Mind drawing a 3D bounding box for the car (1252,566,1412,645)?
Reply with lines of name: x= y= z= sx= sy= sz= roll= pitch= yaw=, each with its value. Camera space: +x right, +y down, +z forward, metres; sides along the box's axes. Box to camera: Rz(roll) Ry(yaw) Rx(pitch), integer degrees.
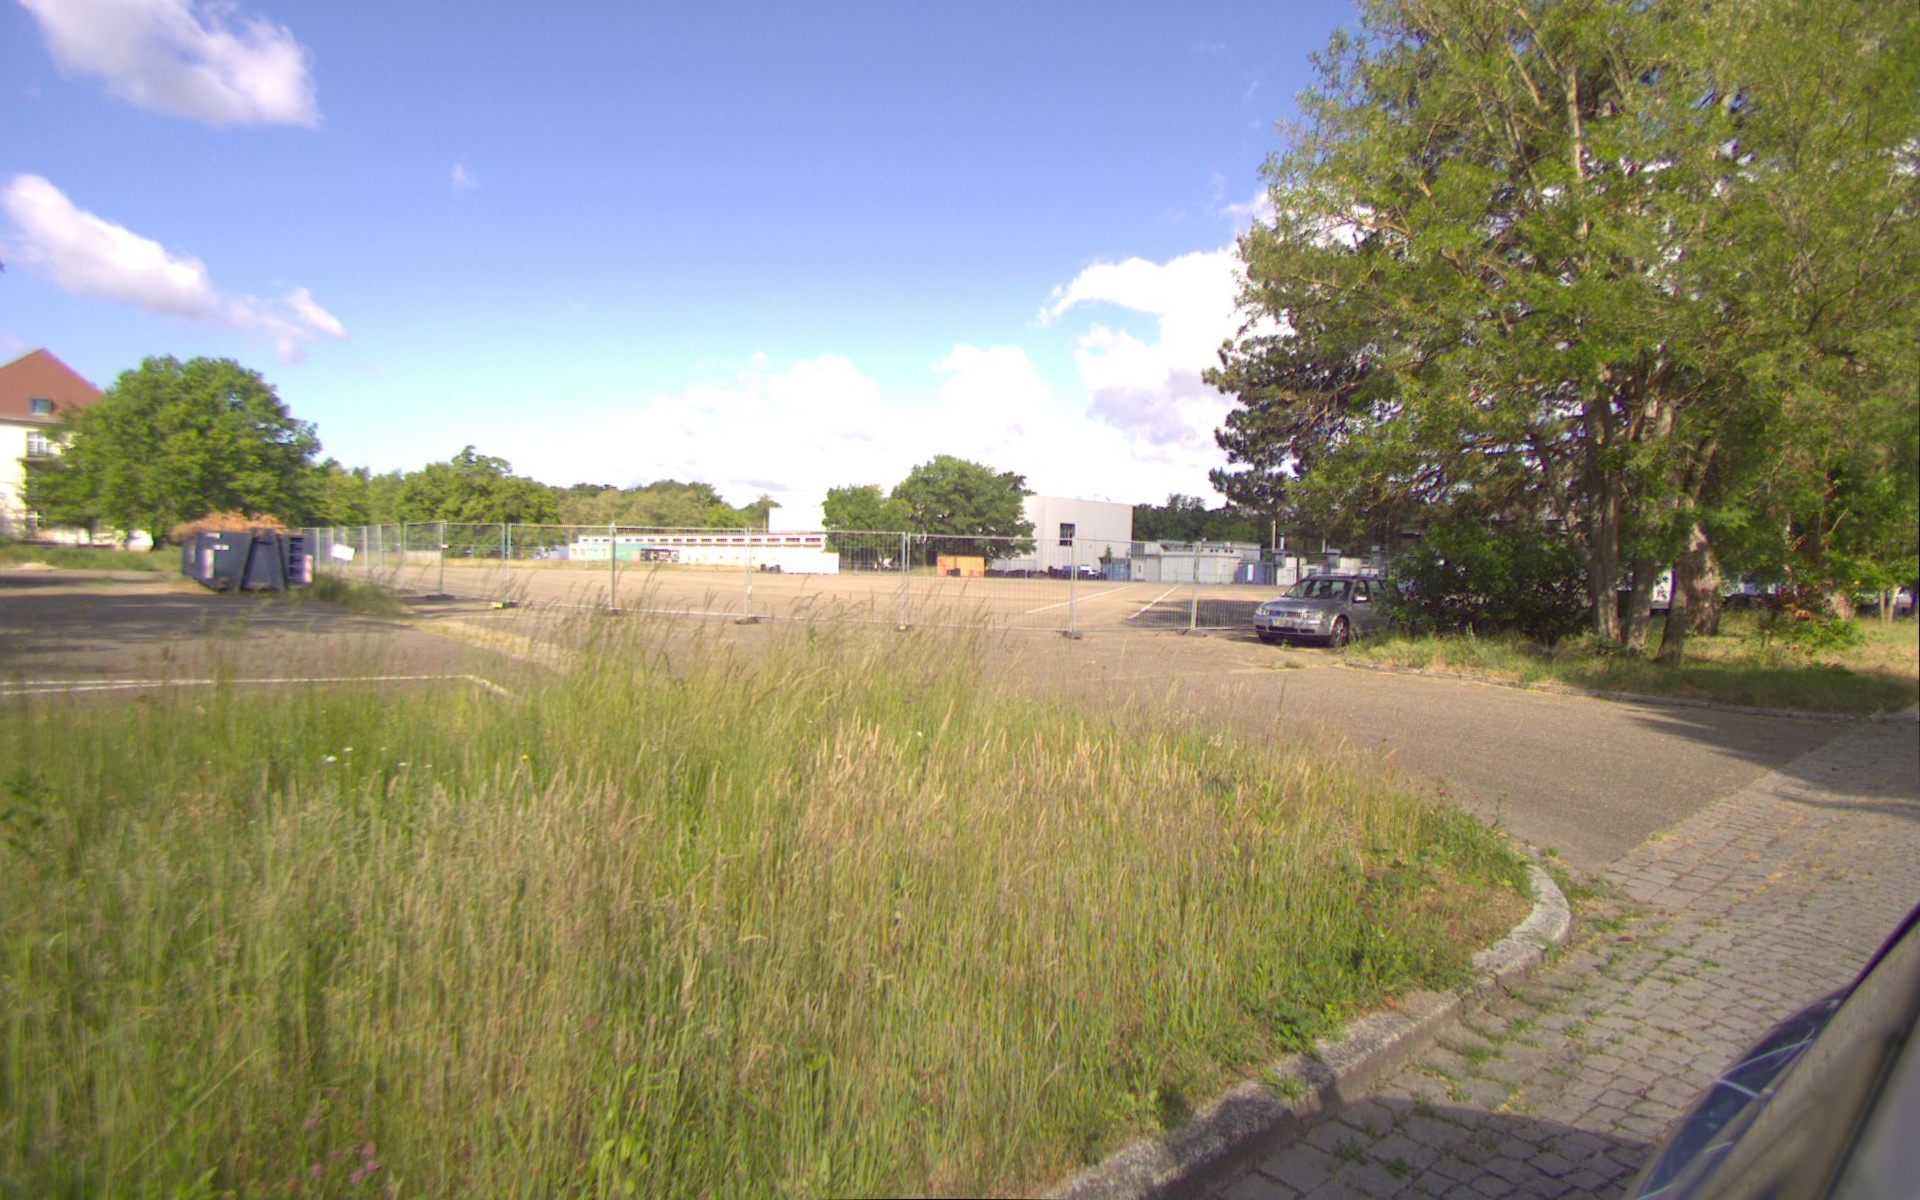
car: x=7.830 y=0.070 z=21.118 sx=3.921 sy=1.461 sz=1.576 roll=0 pitch=3 yaw=-44
